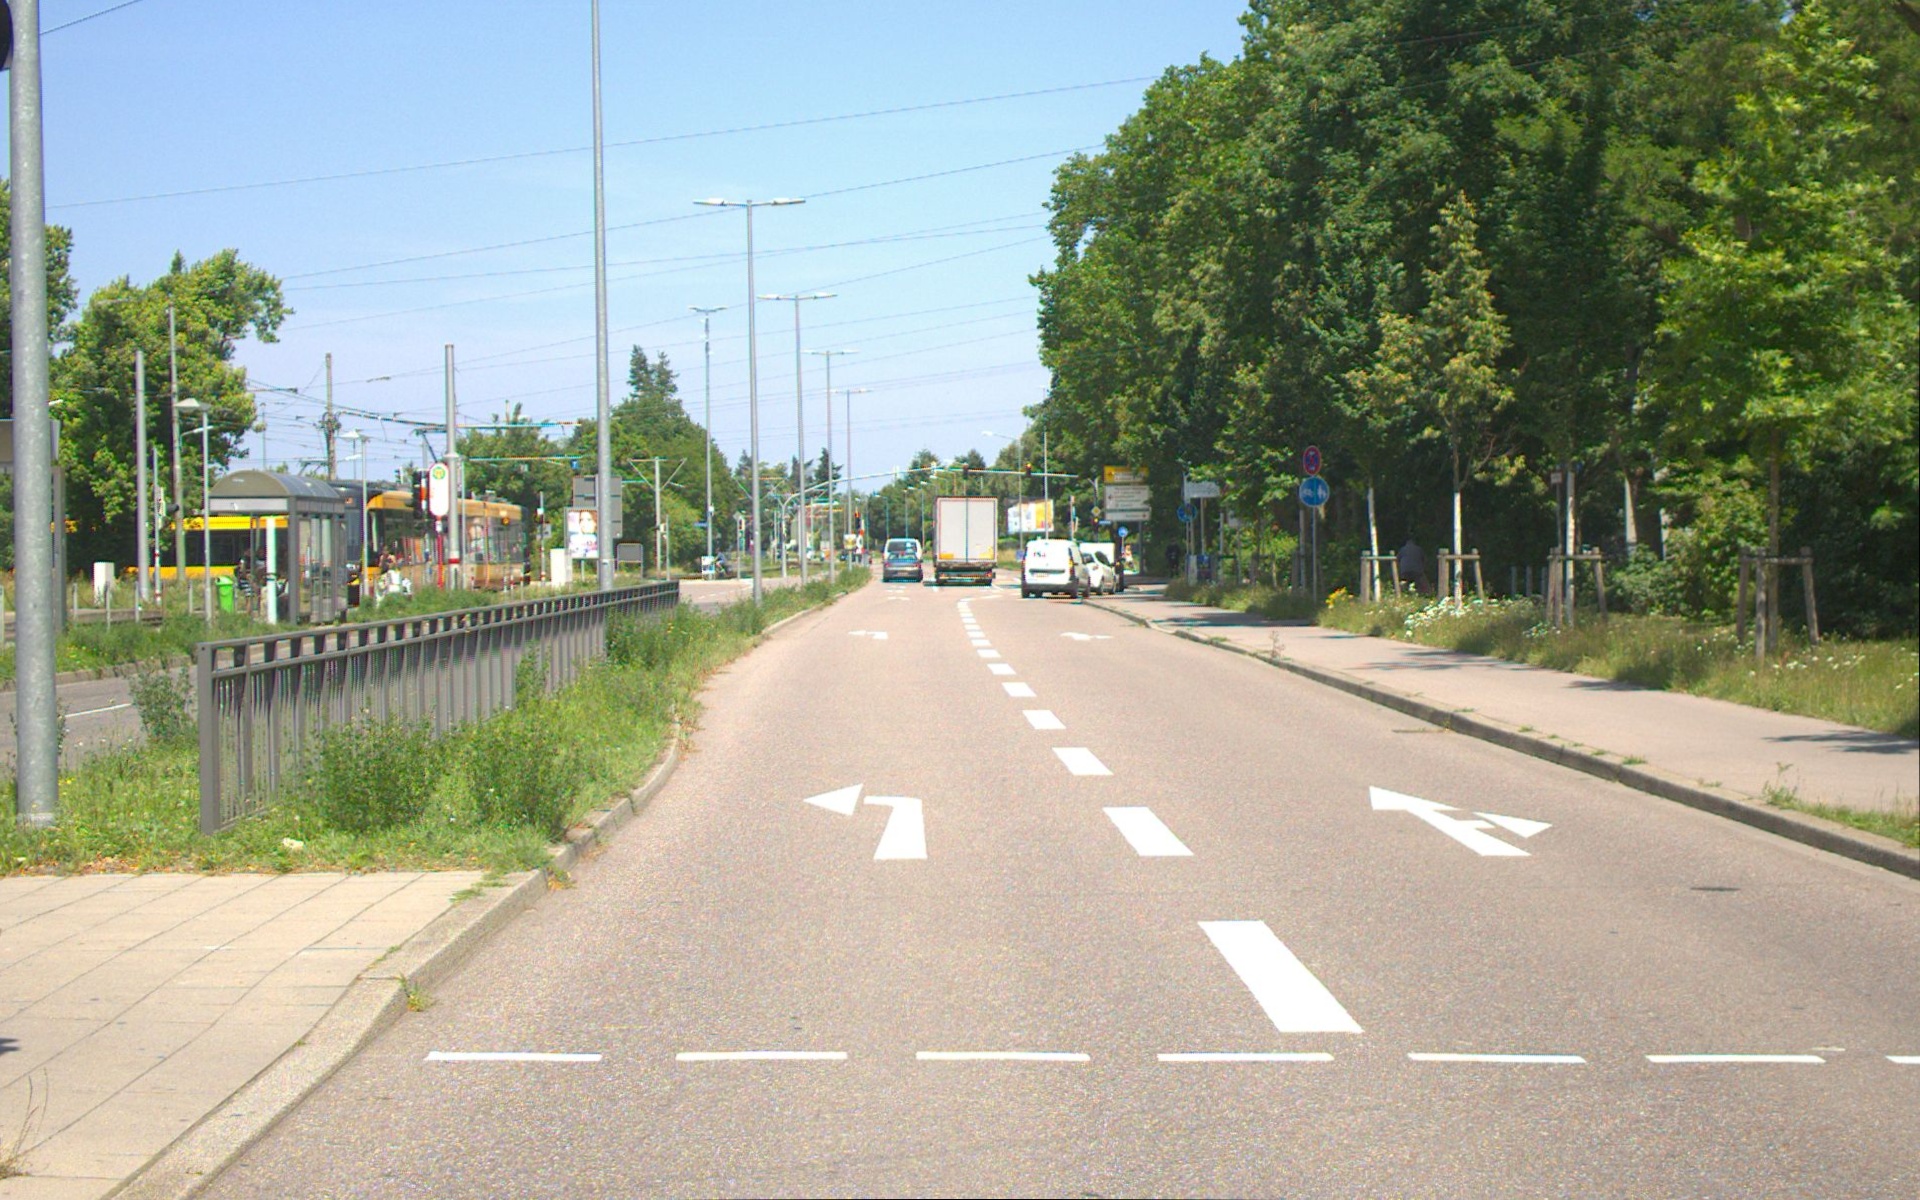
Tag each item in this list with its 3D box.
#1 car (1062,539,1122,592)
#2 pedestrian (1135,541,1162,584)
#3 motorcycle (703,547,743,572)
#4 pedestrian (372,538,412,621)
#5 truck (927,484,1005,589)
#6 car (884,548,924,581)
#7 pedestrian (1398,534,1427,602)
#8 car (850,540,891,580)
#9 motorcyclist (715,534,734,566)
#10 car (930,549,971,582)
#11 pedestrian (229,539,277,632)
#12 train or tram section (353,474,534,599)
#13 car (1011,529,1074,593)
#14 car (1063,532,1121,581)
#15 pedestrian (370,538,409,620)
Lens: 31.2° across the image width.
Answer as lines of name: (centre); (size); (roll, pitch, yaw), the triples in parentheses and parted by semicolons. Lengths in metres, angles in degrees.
car: (4.298, -1.143, 112.427); (1.779, 1.663, 4.000); (0, 1, -1)
pedestrian: (8.945, -1.795, 163.305); (1.185, 2.007, 1.214); (0, 1, 0)
motorcycle: (-13.623, -2.351, 197.795); (2.182, 1.402, 0.848); (-1, 1, -11)
pedestrian: (-13.817, -0.503, 83.656); (0.815, 2.007, 0.938); (0, 1, -1)
truck: (0.212, -2.708, 146.054); (3.205, 4.344, 6.561); (0, 1, -1)
car: (-2.558, -1.639, 157.887); (1.811, 1.459, 4.000); (0, 1, -1)
pedestrian: (9.538, -0.671, 72.482); (0.604, 1.433, 0.556); (0, 1, 6)
car: (-4.554, -2.061, 175.167); (1.993, 2.007, 4.000); (0, 1, -1)
motorcyclist: (-13.554, -2.869, 197.816); (0.924, 1.829, 0.850); (-1, 1, -12)
car: (-0.434, -1.545, 153.619); (1.811, 1.459, 4.000); (0, 1, -1)
pedestrian: (-14.257, -0.298, 69.304); (0.785, 1.862, 0.817); (0, 1, -1)
train or tram section: (-17.387, -2.175, 118.407); (2.957, 3.736, 30.036); (0, 1, -2)
car: (2.509, -1.215, 105.517); (1.779, 1.897, 4.000); (0, 1, -1)
car: (4.547, -1.507, 118.791); (1.779, 1.663, 4.000); (0, 1, -1)
pedestrian: (-14.095, -0.519, 84.950); (0.815, 2.007, 0.938); (0, 1, -1)
